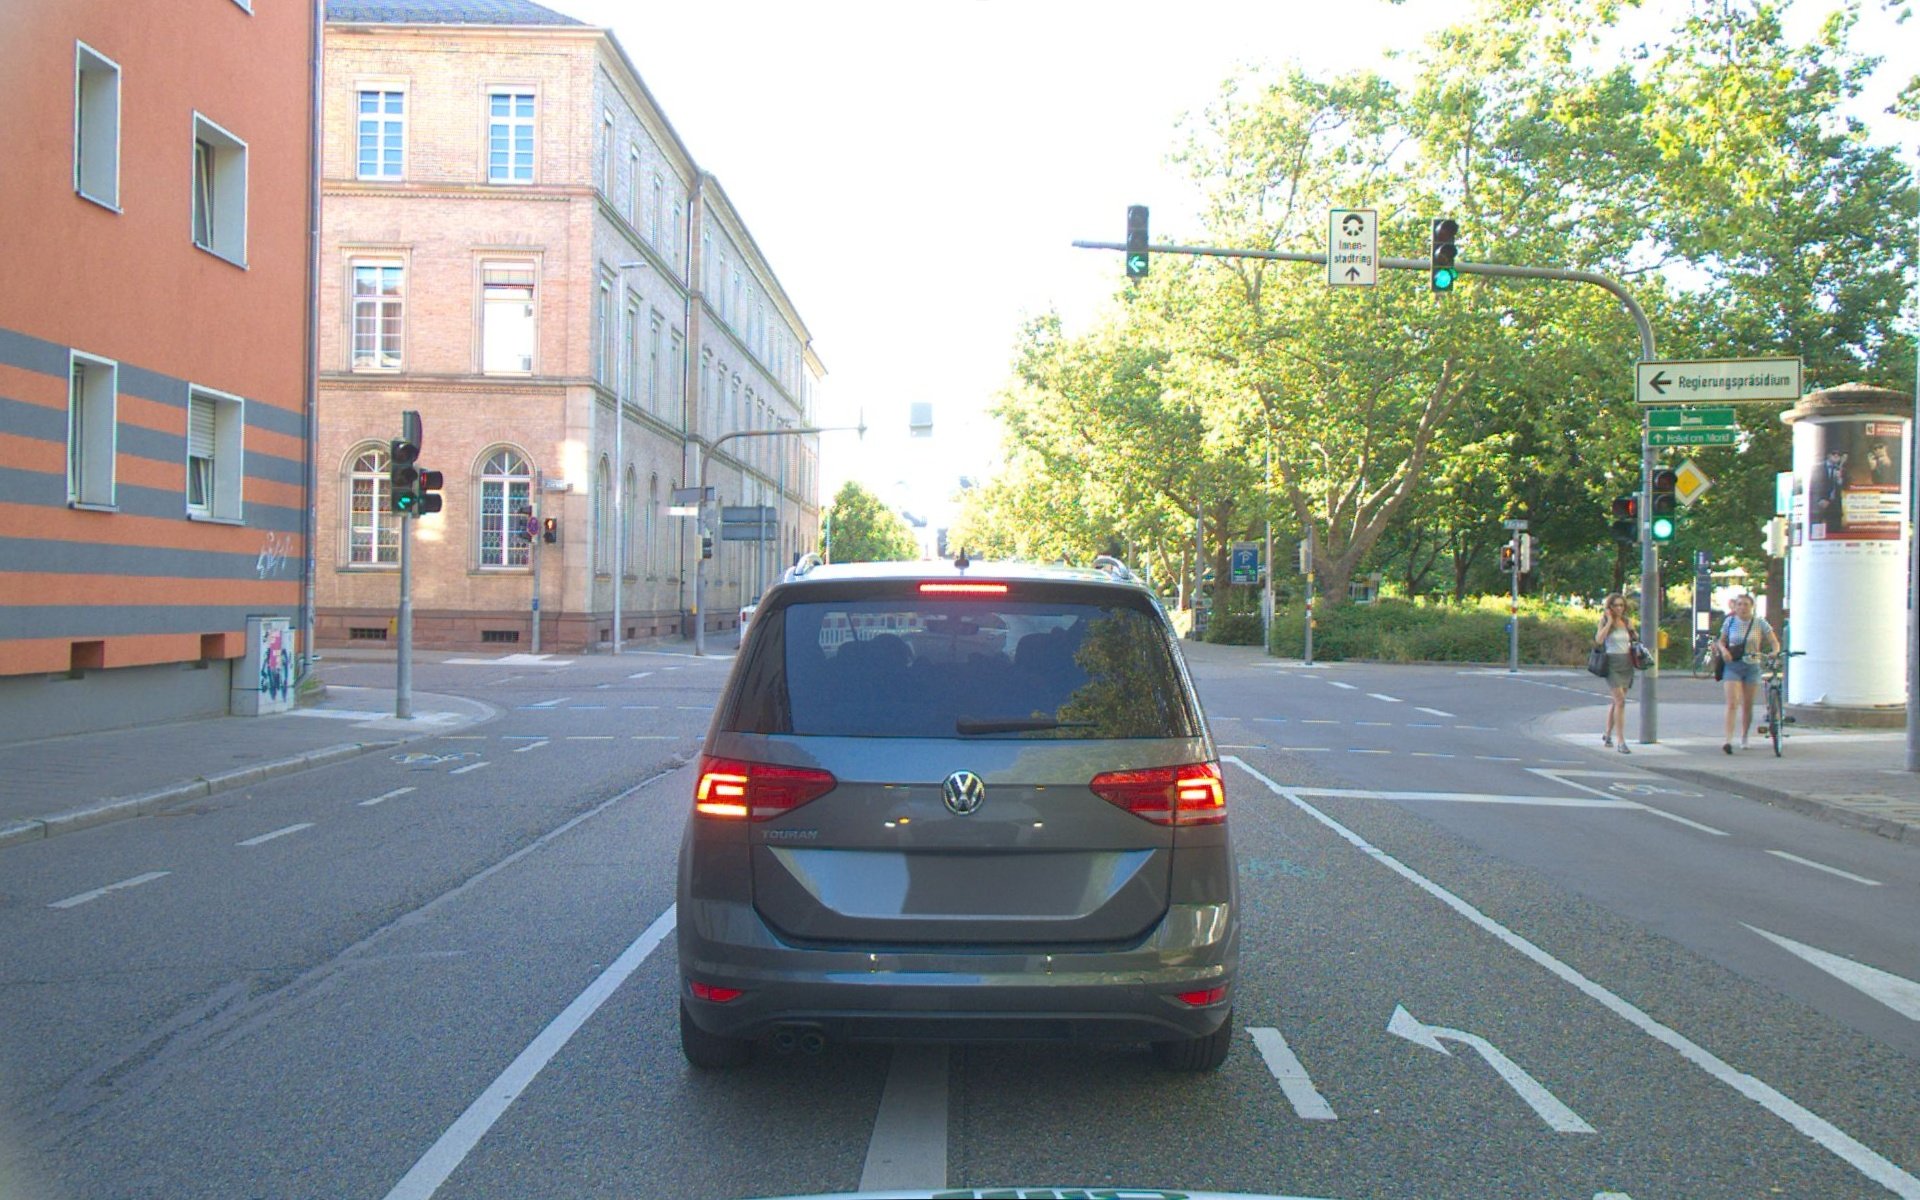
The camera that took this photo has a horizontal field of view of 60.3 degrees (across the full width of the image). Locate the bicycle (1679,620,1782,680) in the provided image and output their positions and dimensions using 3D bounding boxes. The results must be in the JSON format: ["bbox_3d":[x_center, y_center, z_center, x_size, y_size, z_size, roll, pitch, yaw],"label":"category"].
[{"bbox_3d":[17.043,1.103,36.591,1.989,1.242,0.599,2,0,0],"label":"bicycle"}]

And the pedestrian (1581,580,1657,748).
[{"bbox_3d":[7.417,0.713,18.655,0.716,1.840,0.909,0,-1,17],"label":"pedestrian"}]

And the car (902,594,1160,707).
[{"bbox_3d":[0.924,0.687,24.379,1.821,1.454,4.477,2,0,-27],"label":"car"}]

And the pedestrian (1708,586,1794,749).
[{"bbox_3d":[8.667,0.730,18.149,0.669,1.727,0.971,-1,-1,17],"label":"pedestrian"}]

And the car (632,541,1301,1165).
[{"bbox_3d":[0.079,0.677,6.413,1.772,1.640,4.001,1,0,2],"label":"car"}]

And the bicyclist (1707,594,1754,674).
[{"bbox_3d":[17.017,0.745,36.557,0.695,1.727,0.675,2,0,0],"label":"bicyclist"}]

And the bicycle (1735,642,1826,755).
[{"bbox_3d":[8.845,1.036,17.871,0.513,1.119,1.742,1,0,15],"label":"bicycle"}]

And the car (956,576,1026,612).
[{"bbox_3d":[1.685,-0.358,91.001,1.701,1.639,3.849,5,0,-39],"label":"car"}]

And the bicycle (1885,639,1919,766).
[{"bbox_3d":[10.215,1.022,16.266,1.935,1.210,0.528,2,0,-1],"label":"bicycle"}]
